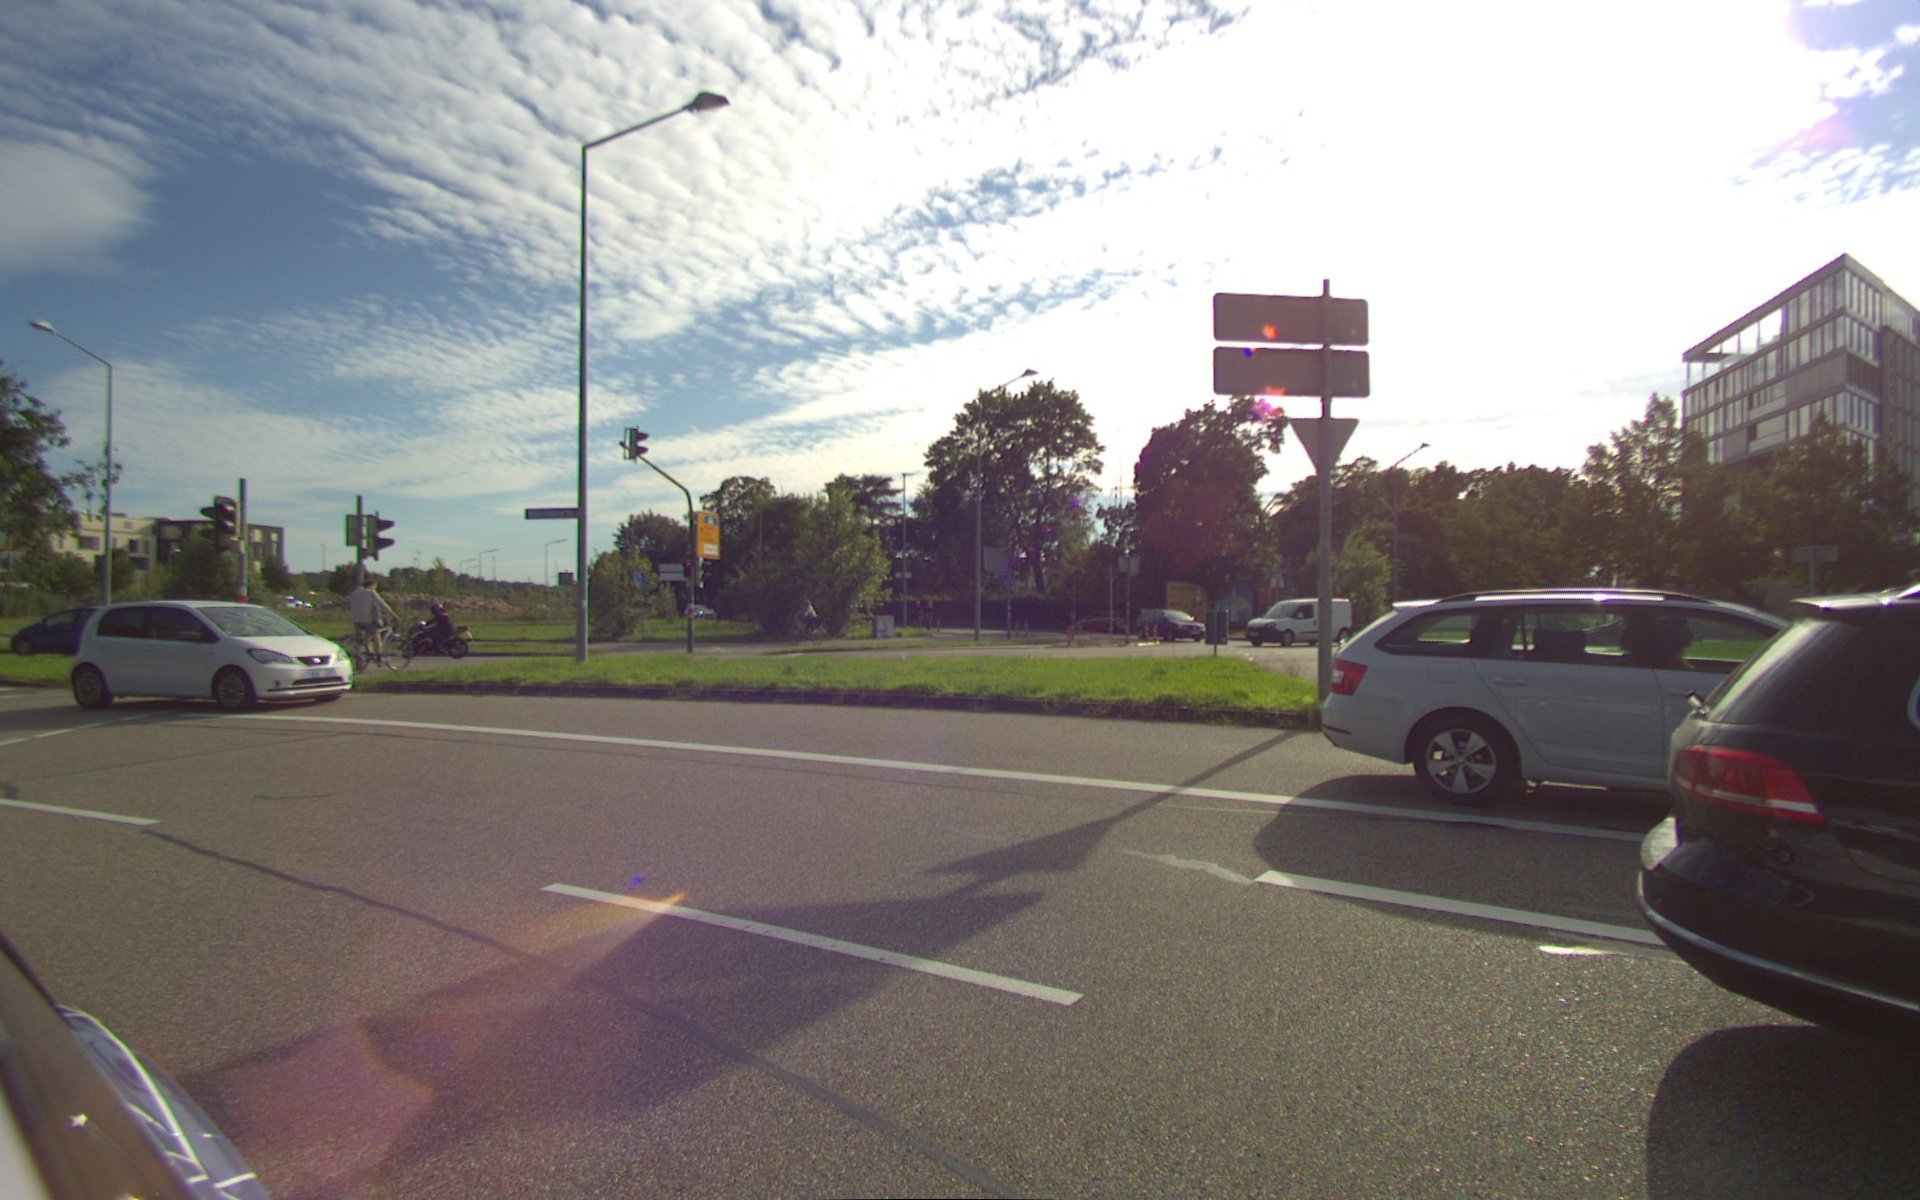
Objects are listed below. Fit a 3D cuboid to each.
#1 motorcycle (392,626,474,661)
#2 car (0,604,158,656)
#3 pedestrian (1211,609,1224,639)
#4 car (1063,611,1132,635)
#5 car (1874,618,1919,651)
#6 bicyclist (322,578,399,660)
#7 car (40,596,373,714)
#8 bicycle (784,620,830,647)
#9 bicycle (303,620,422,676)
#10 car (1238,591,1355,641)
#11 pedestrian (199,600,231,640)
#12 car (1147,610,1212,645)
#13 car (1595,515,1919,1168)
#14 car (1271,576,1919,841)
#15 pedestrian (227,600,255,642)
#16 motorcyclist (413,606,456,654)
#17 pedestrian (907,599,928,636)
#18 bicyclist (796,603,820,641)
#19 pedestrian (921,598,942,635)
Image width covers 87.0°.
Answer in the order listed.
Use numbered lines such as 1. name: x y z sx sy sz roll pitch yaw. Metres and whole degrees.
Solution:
1. motorcycle: -15.431 1.276 29.680 1.990 0.994 0.786 0 -1 -12
2. car: -26.621 0.903 30.238 3.940 1.513 1.782 0 -3 2
3. pedestrian: 14.182 1.328 55.690 0.506 1.637 0.540 -1 -1 45
4. car: 8.640 1.403 63.911 3.992 1.431 1.747 0 0 36
5. car: 45.147 1.614 46.777 3.949 1.513 1.681 0 -3 9
6. bicyclist: -11.752 0.369 19.859 0.986 1.567 0.863 0 -1 10
7. car: -10.407 0.696 14.088 3.620 1.475 1.761 0 1 11
8. bicycle: -6.001 1.289 39.718 0.611 0.995 1.812 2 1 41
9. bicycle: -11.711 0.911 19.935 0.991 1.015 1.955 0 -1 10
10. car: 13.128 0.663 39.483 4.482 1.839 1.691 1 -3 -28
11. pedestrian: -28.947 0.769 39.322 0.748 1.519 0.627 1 2 7
12. car: 10.041 1.215 46.607 1.659 1.512 4.000 0 0 -7
13. car: 4.301 0.529 2.132 4.838 1.578 1.975 -1 0 38
14. car: 4.755 0.615 7.028 4.628 1.456 1.835 -1 -1 35
15. pedestrian: -28.500 0.813 40.106 0.650 1.641 0.627 0 1 8
16. motorcyclist: -15.395 0.882 29.691 0.928 1.376 0.786 0 -1 -12
17. pedestrian: -2.252 0.903 53.710 0.851 1.930 0.900 0 2 -23
18. bicyclist: -5.964 0.855 39.760 0.611 1.456 0.688 2 1 42
19. pedestrian: -1.547 0.891 54.165 0.851 1.930 0.900 0 2 -23
